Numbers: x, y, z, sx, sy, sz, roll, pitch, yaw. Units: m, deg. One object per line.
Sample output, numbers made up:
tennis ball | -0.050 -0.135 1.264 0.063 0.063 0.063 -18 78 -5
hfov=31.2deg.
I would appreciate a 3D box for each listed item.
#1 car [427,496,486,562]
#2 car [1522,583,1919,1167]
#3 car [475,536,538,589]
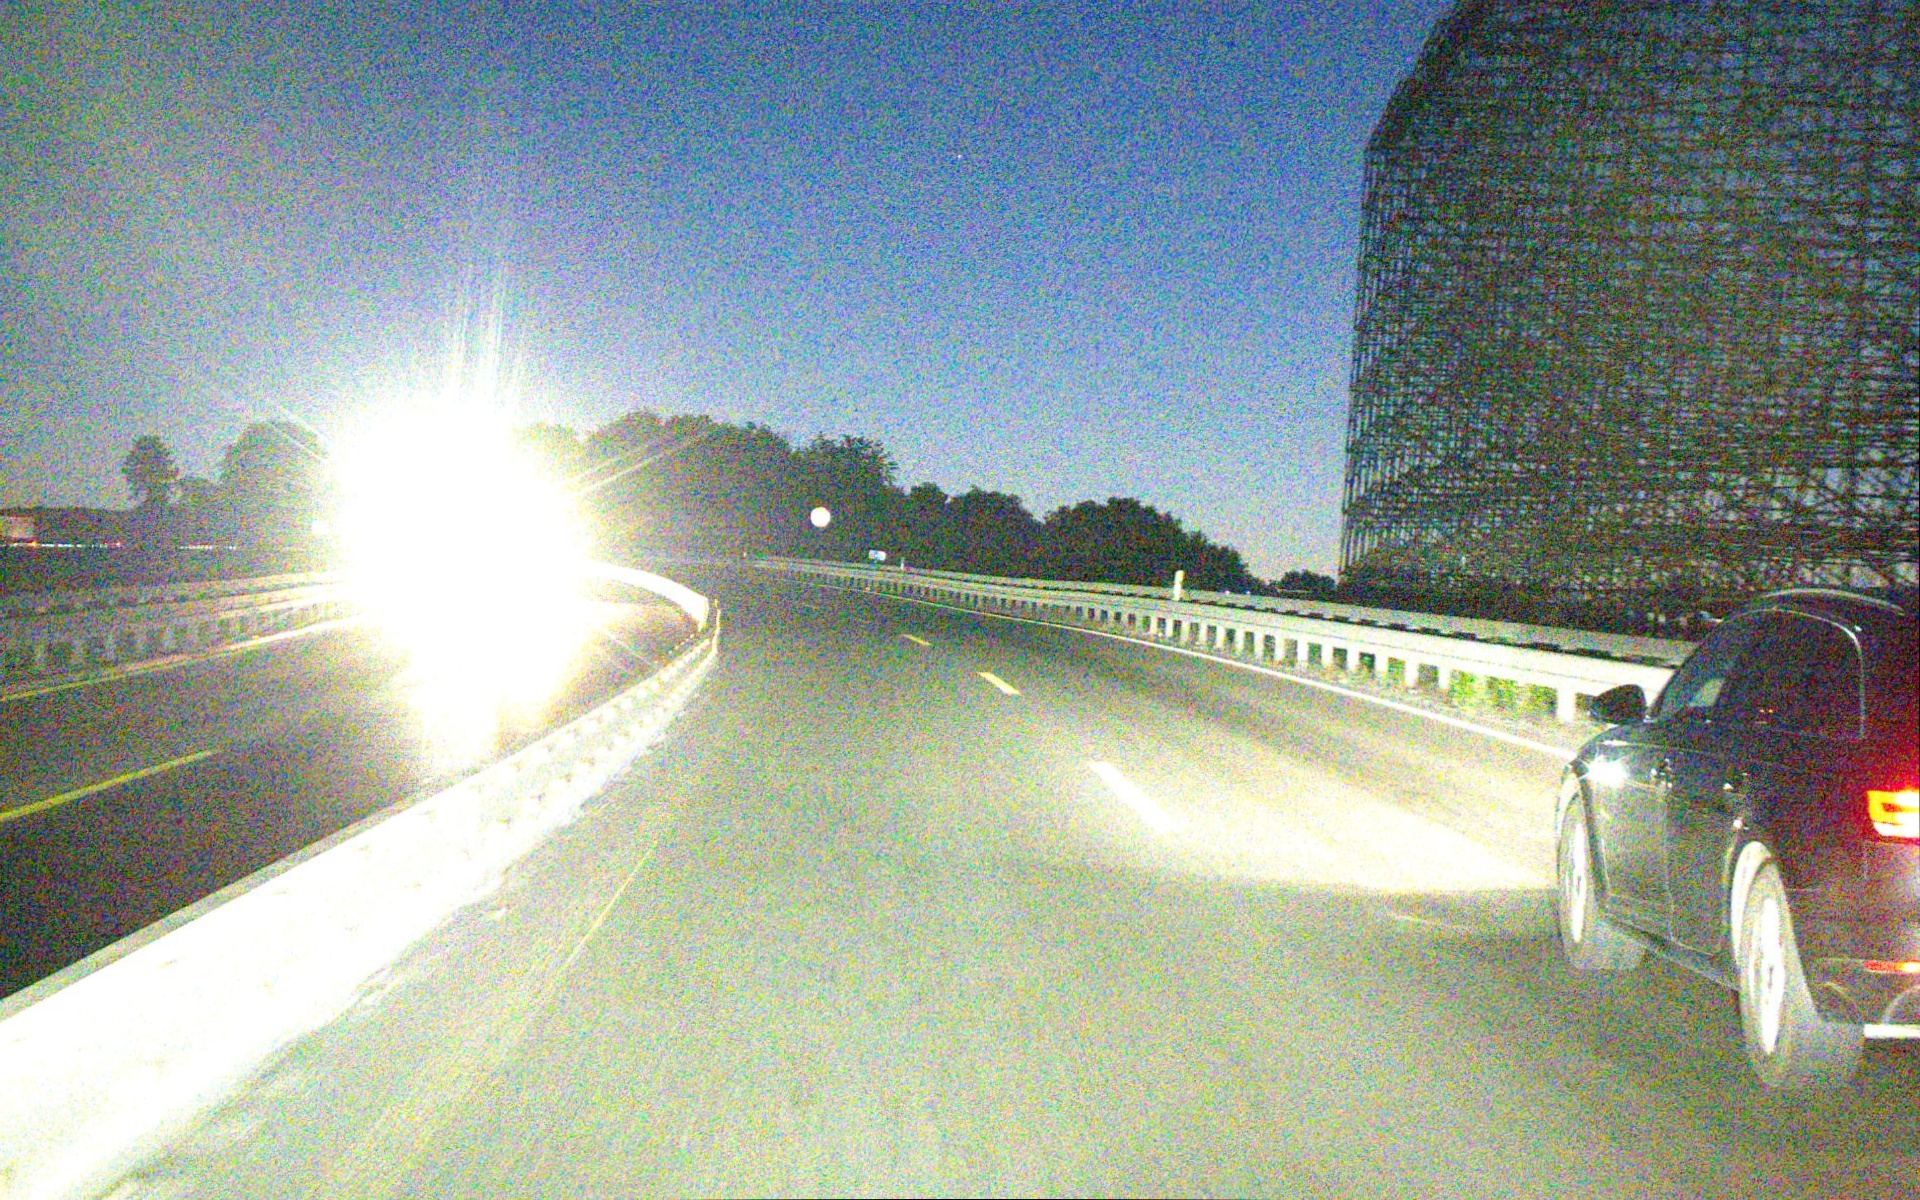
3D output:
car | -24.542 -3.417 167.378 2.485 3.095 7.387 0 0 -11
car | 3.075 0.680 11.052 1.808 1.422 4.875 0 1 1
car | -12.625 -1.044 95.618 1.684 1.454 4.201 0 1 -8
